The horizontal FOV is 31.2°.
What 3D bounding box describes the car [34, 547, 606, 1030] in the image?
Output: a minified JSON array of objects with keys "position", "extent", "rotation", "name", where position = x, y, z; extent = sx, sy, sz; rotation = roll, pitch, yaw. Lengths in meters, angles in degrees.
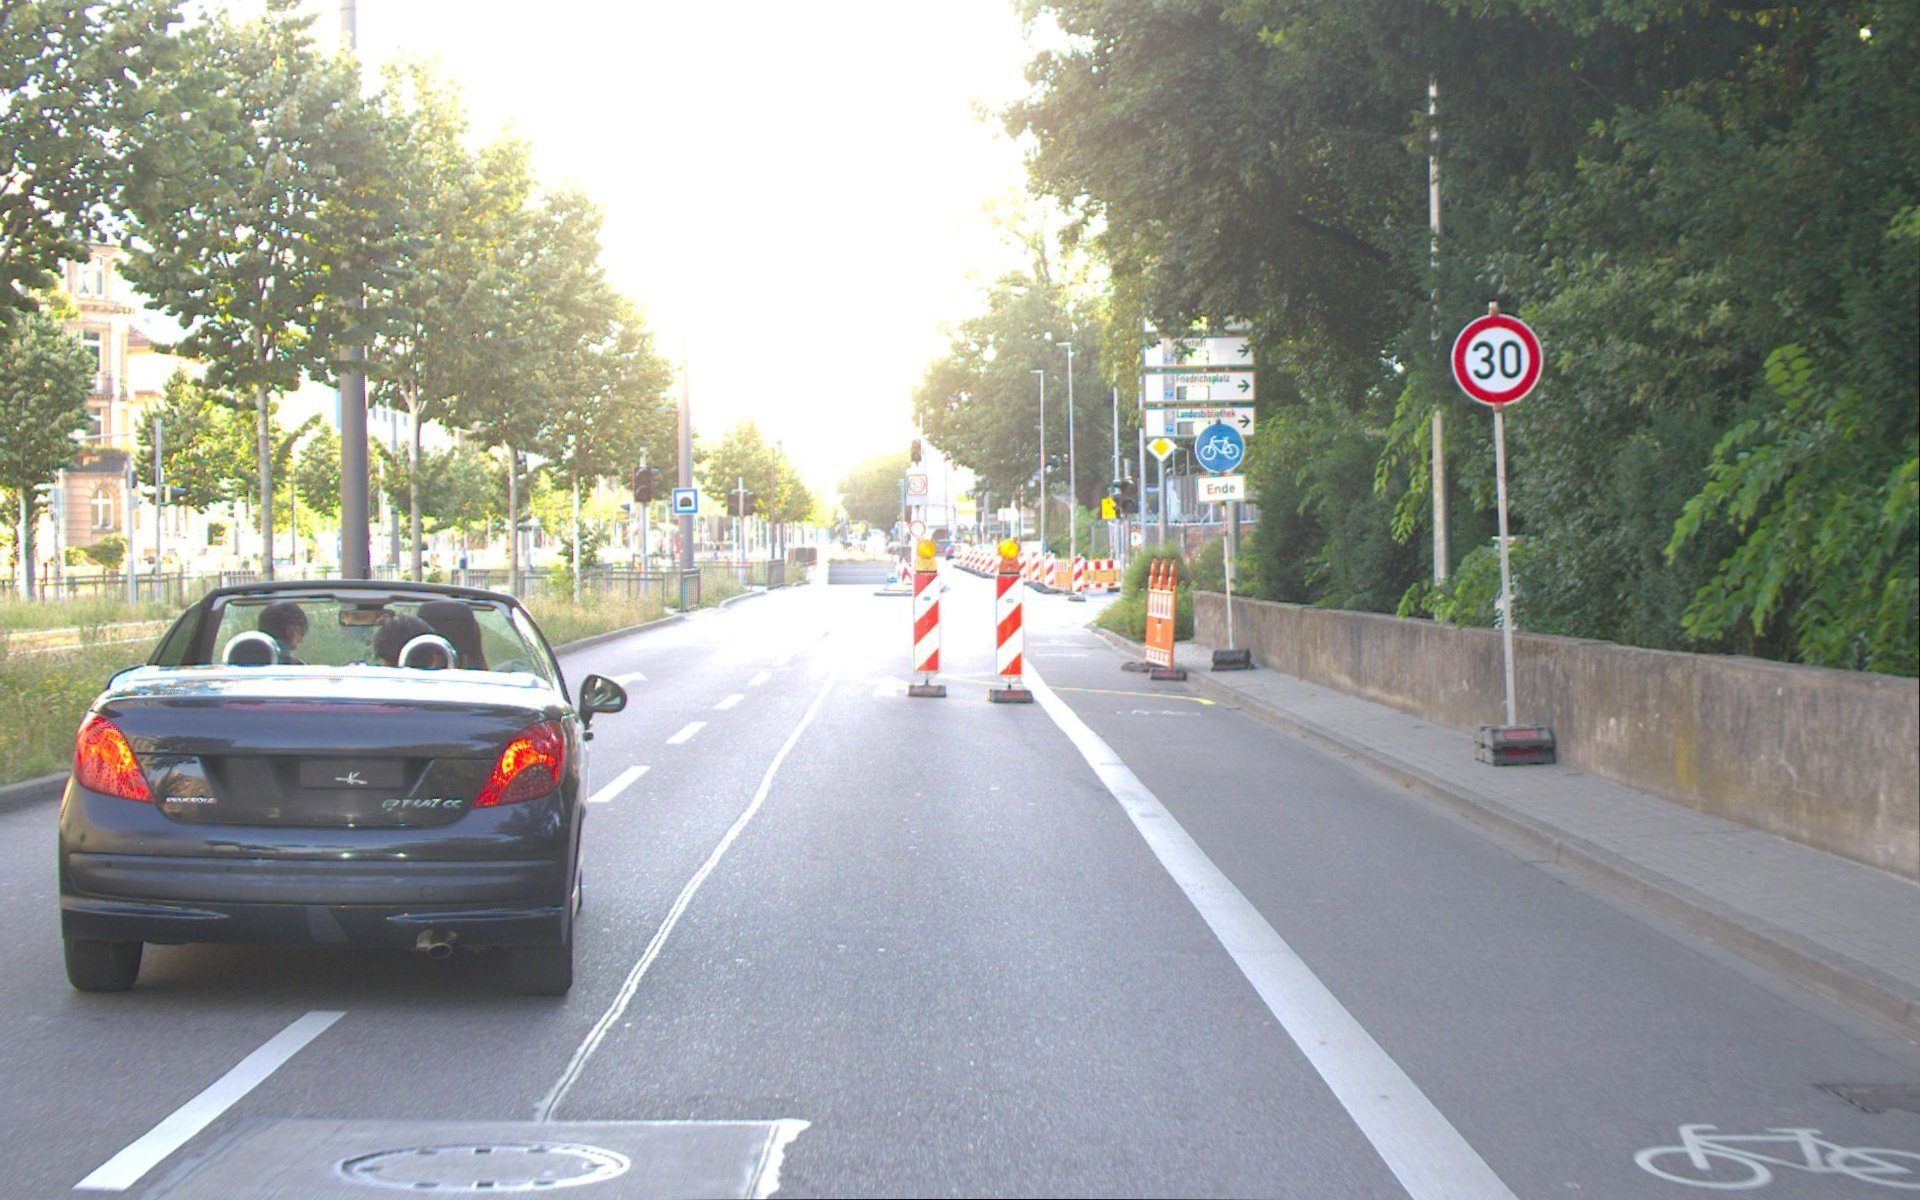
[{"position":[-2.223,0.566,12.647],"extent":[1.718,1.444,3.902],"rotation":[2,1,-7],"name":"car"}]
